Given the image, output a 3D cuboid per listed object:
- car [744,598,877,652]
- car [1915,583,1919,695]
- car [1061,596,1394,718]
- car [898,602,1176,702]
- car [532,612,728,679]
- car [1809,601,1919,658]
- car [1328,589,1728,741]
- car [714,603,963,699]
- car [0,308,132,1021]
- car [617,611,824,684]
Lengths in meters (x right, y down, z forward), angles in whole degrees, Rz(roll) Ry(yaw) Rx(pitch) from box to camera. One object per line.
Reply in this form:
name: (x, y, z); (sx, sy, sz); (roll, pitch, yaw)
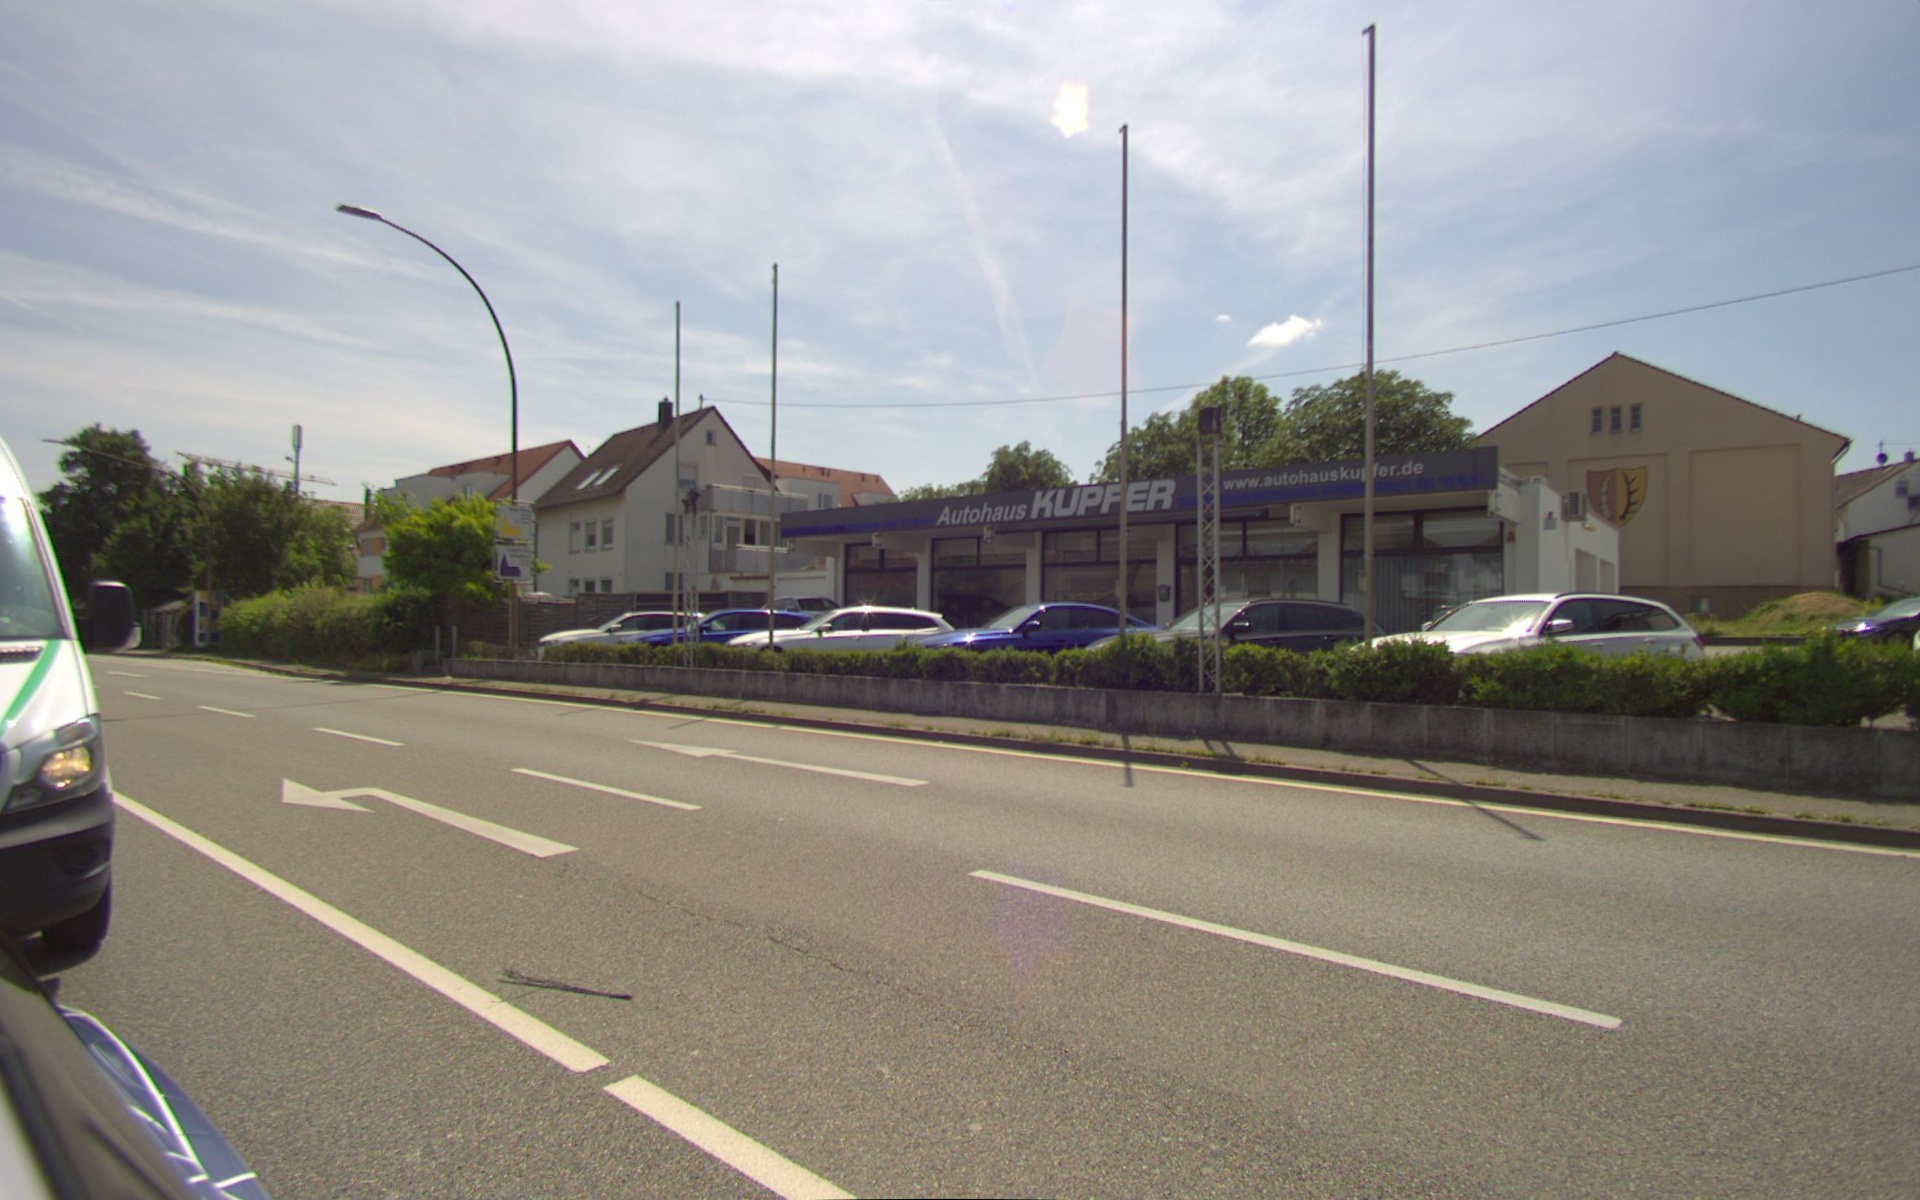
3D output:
car: (-4.567, 0.721, 30.389); (1.781, 1.475, 4.589); (-1, 0, -40)
car: (15.160, 0.490, 14.214); (3.934, 1.521, 1.839); (-1, -1, -36)
car: (3.762, 0.699, 14.226); (4.267, 1.458, 1.905); (-1, 0, -24)
car: (1.273, 0.803, 17.019); (4.267, 1.458, 1.863); (-1, 0, -19)
car: (-8.221, 1.085, 25.332); (4.501, 1.458, 1.863); (-1, 0, -21)
car: (23.516, 0.681, 24.691); (3.946, 1.231, 1.791); (-2, 0, 2)
car: (6.588, 0.631, 11.720); (4.267, 1.458, 1.863); (-1, 0, -24)
car: (-2.368, 0.910, 19.628); (4.438, 1.458, 1.863); (-3, 1, -19)
car: (-5.990, 0.278, 5.036); (5.745, 2.548, 1.914); (-2, -1, 40)
car: (-5.360, 1.017, 22.594); (4.267, 1.458, 1.863); (-1, -1, -21)
